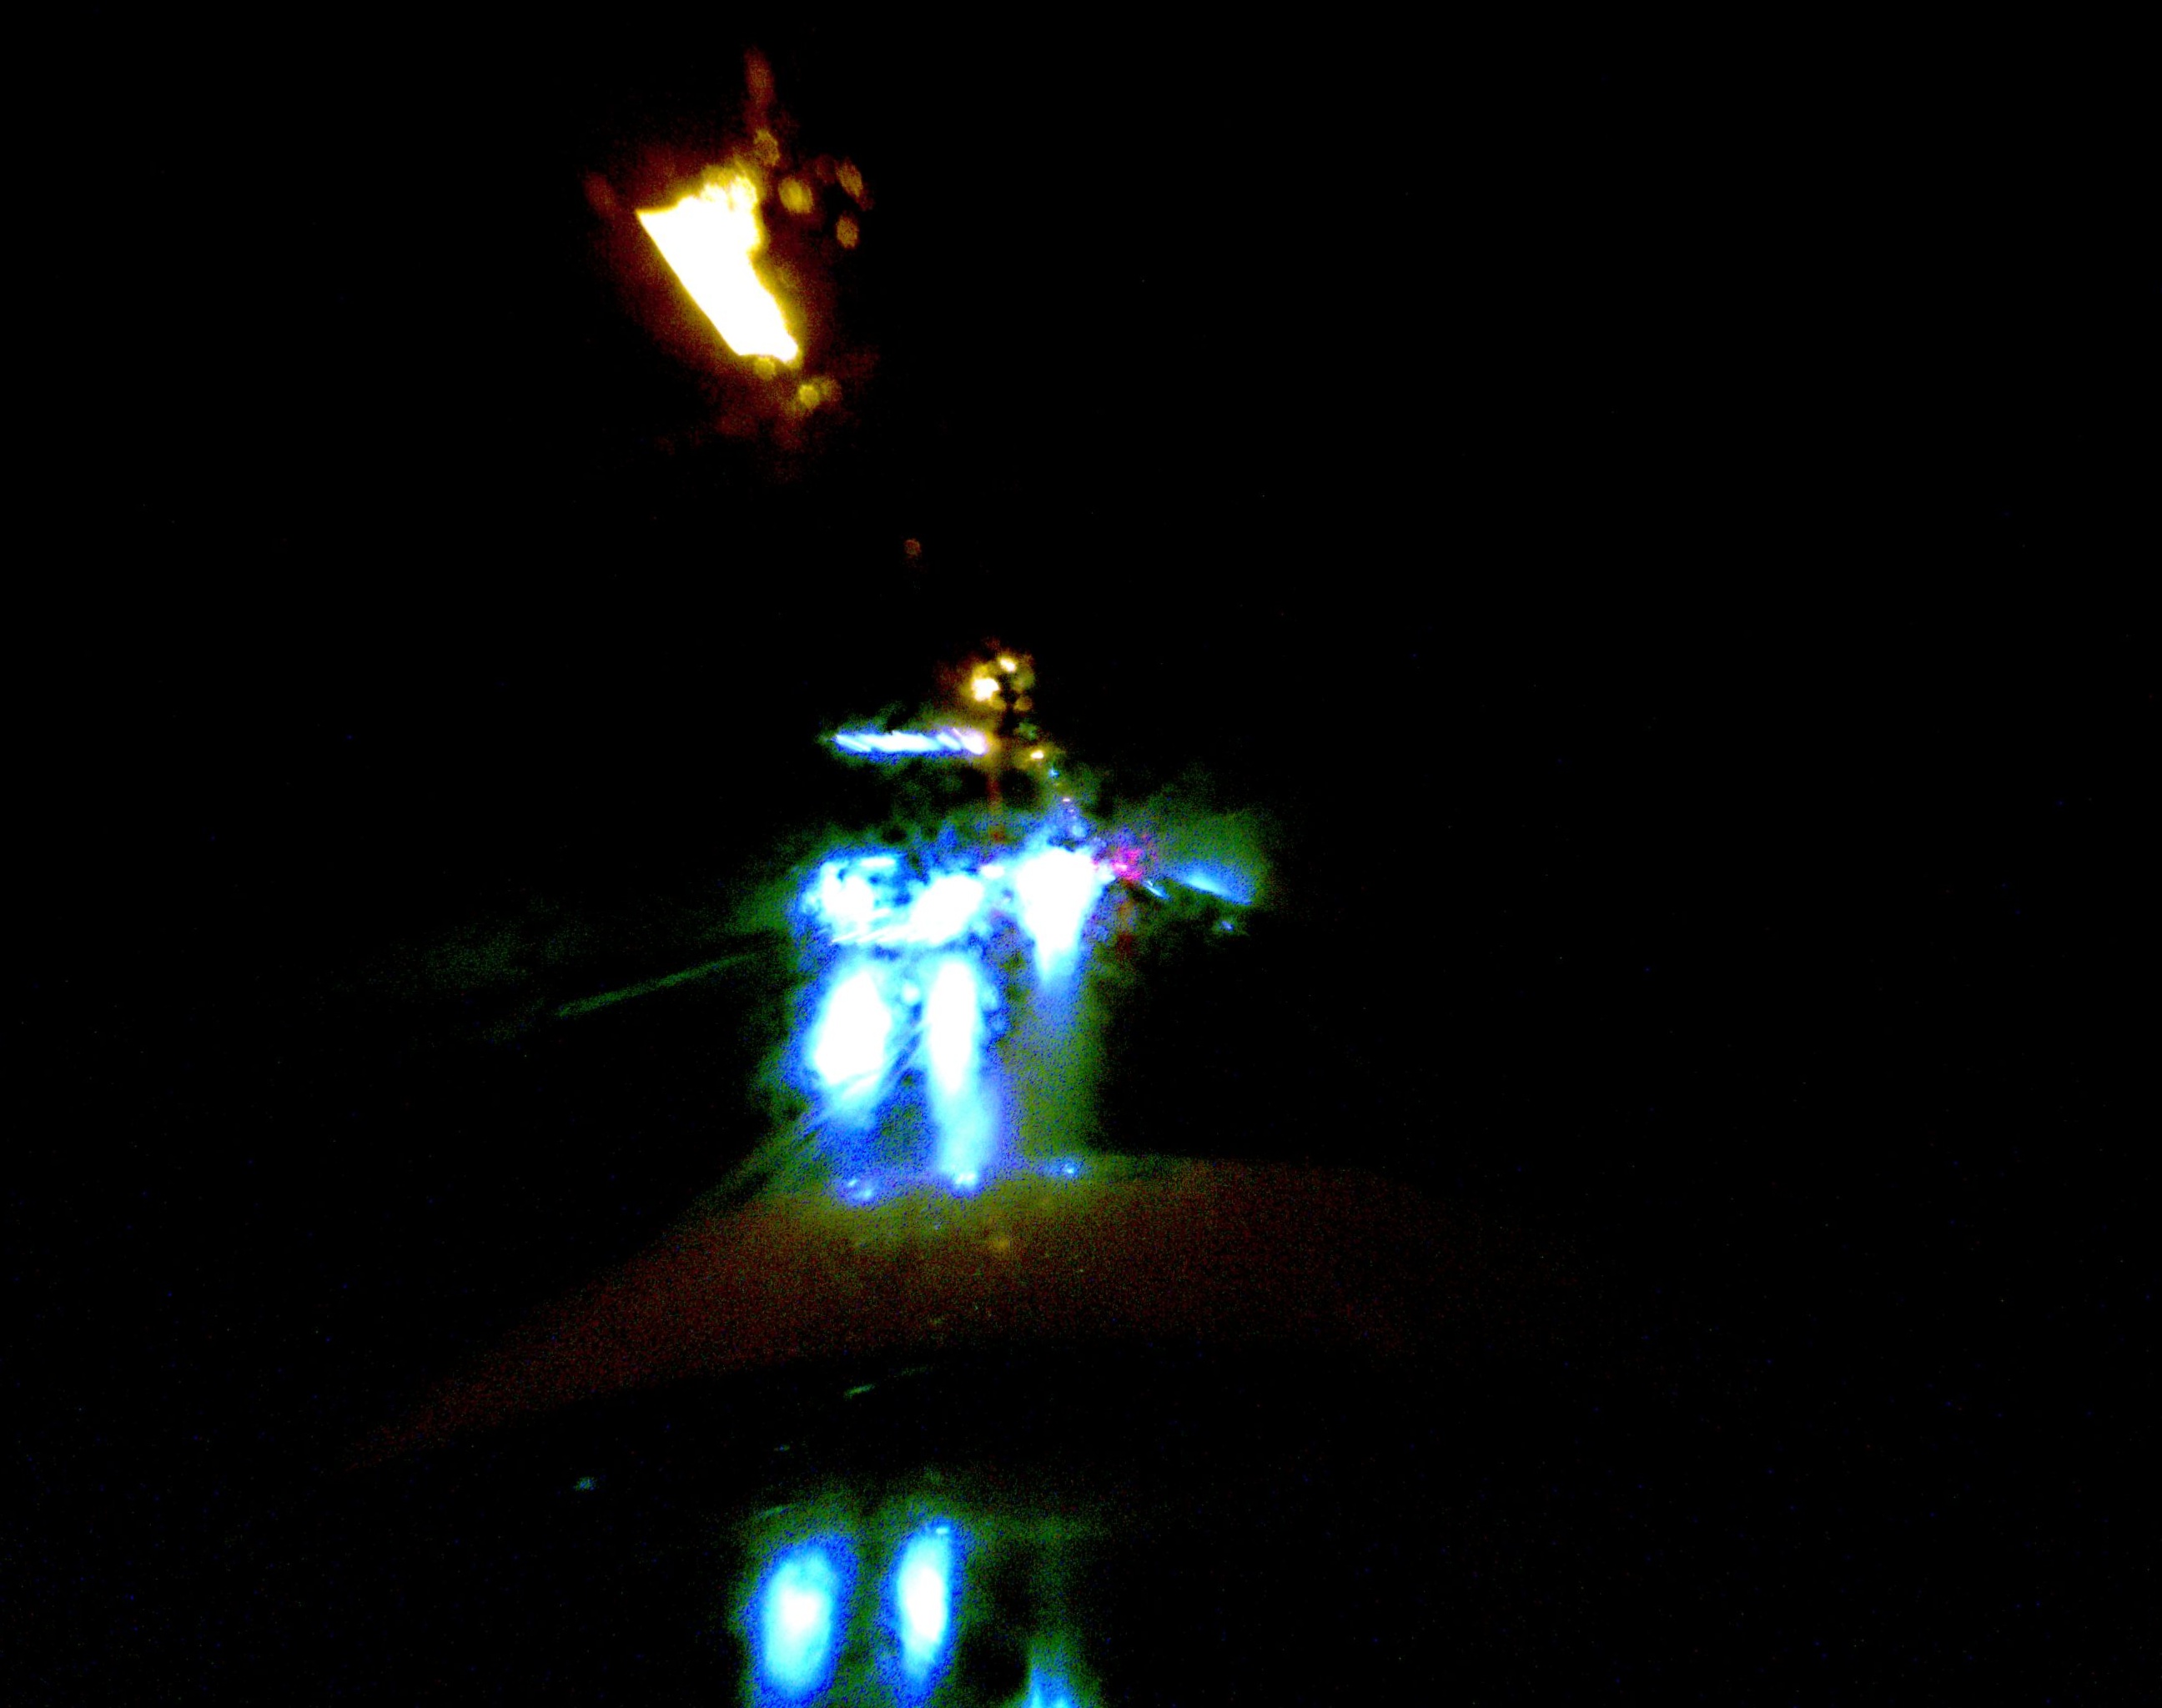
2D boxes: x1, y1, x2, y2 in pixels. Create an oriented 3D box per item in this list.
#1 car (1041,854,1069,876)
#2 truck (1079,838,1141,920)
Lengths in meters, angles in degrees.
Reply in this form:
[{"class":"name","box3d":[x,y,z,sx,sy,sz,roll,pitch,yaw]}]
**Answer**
[{"class":"car","box3d":[-1.831,0.755,58.480,1.654,1.490,3.964,-3,0,1]},{"class":"truck","box3d":[1.207,0.937,34.204,2.253,3.011,7.418,-2,0,2]}]
